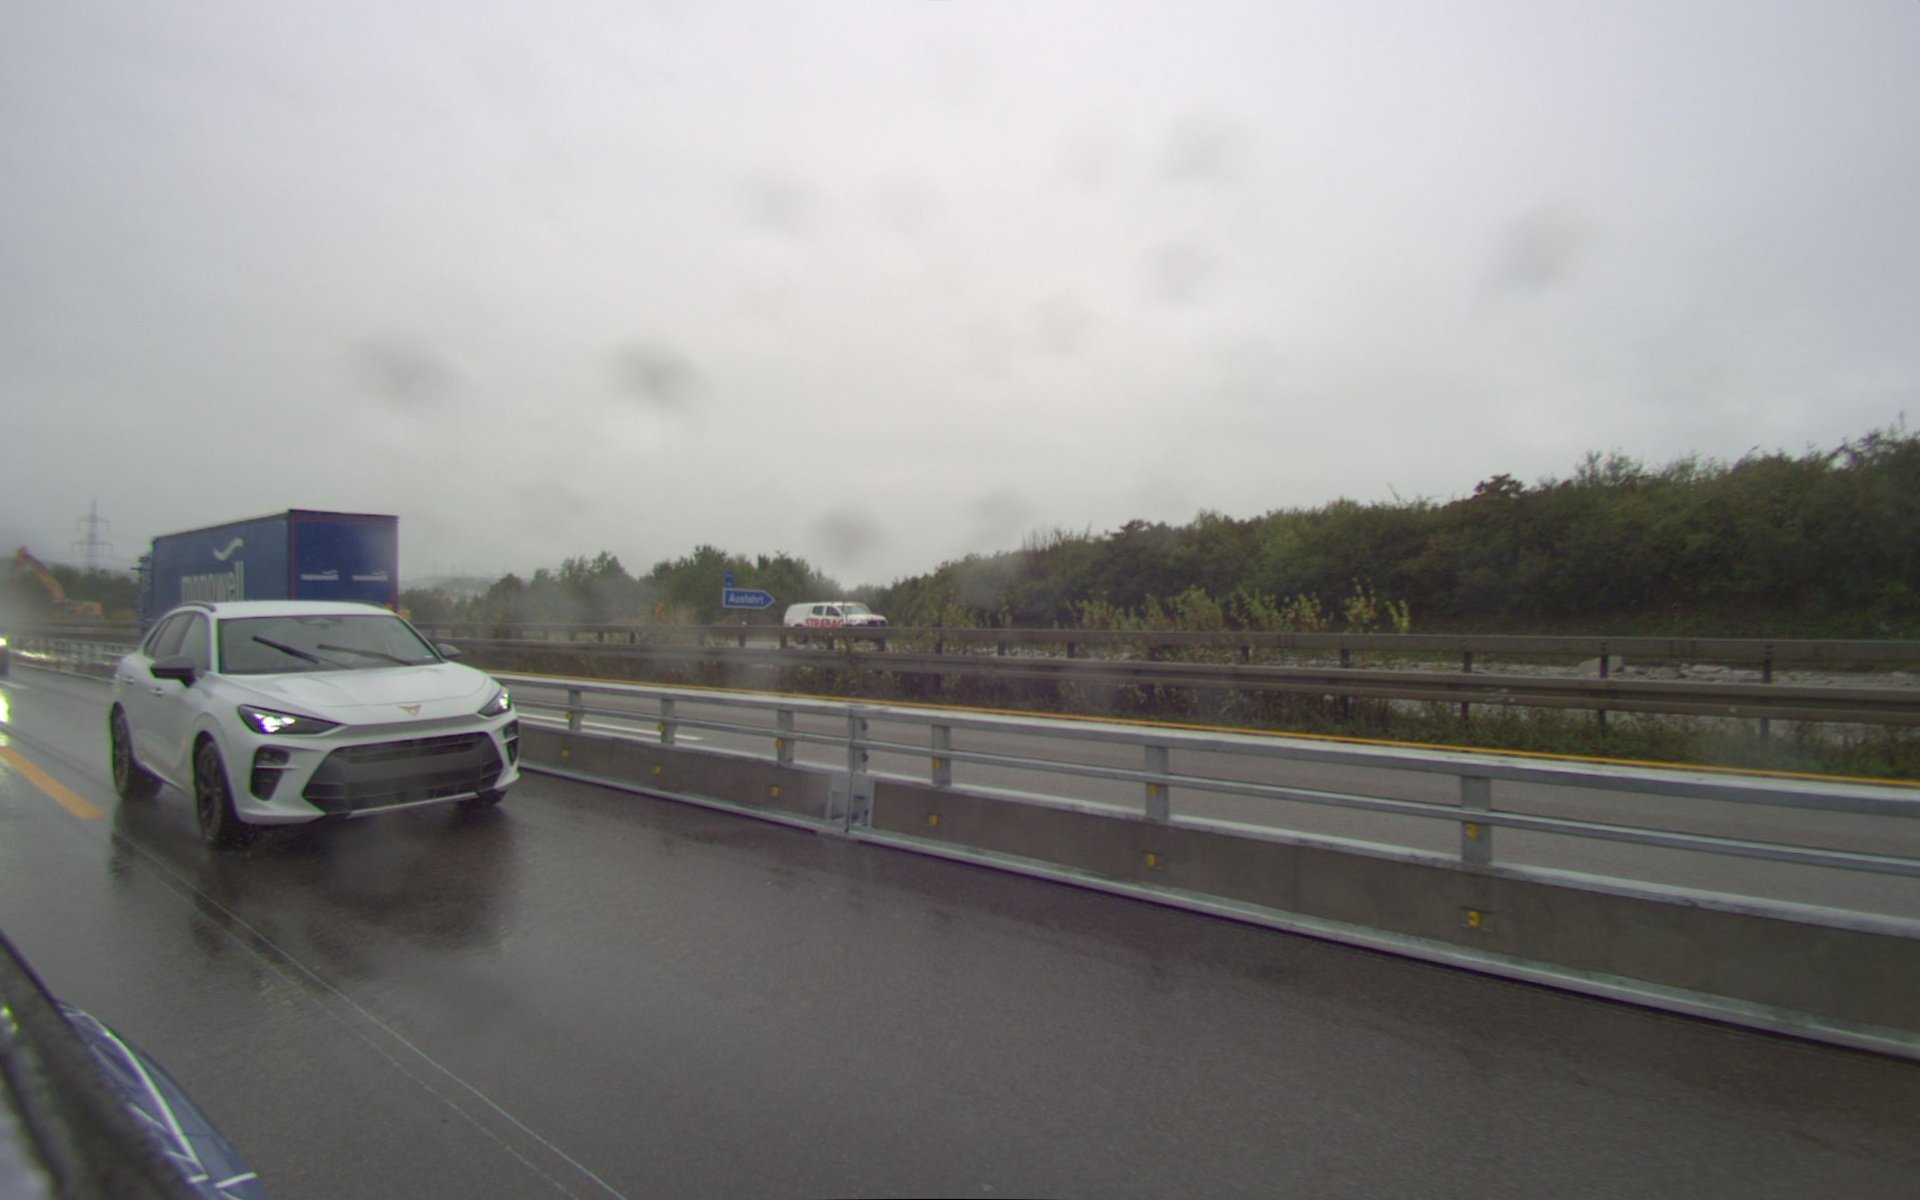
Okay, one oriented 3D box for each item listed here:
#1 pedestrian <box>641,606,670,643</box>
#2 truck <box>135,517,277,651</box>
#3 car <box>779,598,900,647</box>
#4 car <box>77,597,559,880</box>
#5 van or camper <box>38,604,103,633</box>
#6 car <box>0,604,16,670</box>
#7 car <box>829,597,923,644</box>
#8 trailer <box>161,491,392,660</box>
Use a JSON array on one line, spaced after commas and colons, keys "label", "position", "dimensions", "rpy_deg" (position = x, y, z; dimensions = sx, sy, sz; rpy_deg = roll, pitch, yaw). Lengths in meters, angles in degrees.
[{"label": "pedestrian", "position": [-16.909, 1.358, 56.233], "dimensions": [1.124, 2.029, 1.094], "rpy_deg": [-1, 0, 37]}, {"label": "truck", "position": [-25.687, -0.420, 34.336], "dimensions": [6.667, 4.113, 2.596], "rpy_deg": [-2, -1, 42]}, {"label": "car", "position": [-5.245, 0.941, 43.474], "dimensions": [5.361, 1.981, 2.072], "rpy_deg": [-1, -1, 40]}, {"label": "car", "position": [-5.289, 0.804, 7.990], "dimensions": [5.004, 1.562, 1.907], "rpy_deg": [-1, -1, 41]}, {"label": "van or camper", "position": [-106.975, 2.180, 121.748], "dimensions": [3.372, 3.370, 5.357], "rpy_deg": [-1, 0, 37]}, {"label": "car", "position": [-26.021, 0.948, 26.072], "dimensions": [5.194, 1.640, 2.042], "rpy_deg": [-1, -1, 42]}, {"label": "car", "position": [-4.077, 0.965, 48.182], "dimensions": [2.330, 2.092, 5.596], "rpy_deg": [0, -1, -29]}, {"label": "trailer", "position": [-20.318, -0.530, 29.561], "dimensions": [12.427, 4.108, 2.572], "rpy_deg": [-1, -1, 41]}]
